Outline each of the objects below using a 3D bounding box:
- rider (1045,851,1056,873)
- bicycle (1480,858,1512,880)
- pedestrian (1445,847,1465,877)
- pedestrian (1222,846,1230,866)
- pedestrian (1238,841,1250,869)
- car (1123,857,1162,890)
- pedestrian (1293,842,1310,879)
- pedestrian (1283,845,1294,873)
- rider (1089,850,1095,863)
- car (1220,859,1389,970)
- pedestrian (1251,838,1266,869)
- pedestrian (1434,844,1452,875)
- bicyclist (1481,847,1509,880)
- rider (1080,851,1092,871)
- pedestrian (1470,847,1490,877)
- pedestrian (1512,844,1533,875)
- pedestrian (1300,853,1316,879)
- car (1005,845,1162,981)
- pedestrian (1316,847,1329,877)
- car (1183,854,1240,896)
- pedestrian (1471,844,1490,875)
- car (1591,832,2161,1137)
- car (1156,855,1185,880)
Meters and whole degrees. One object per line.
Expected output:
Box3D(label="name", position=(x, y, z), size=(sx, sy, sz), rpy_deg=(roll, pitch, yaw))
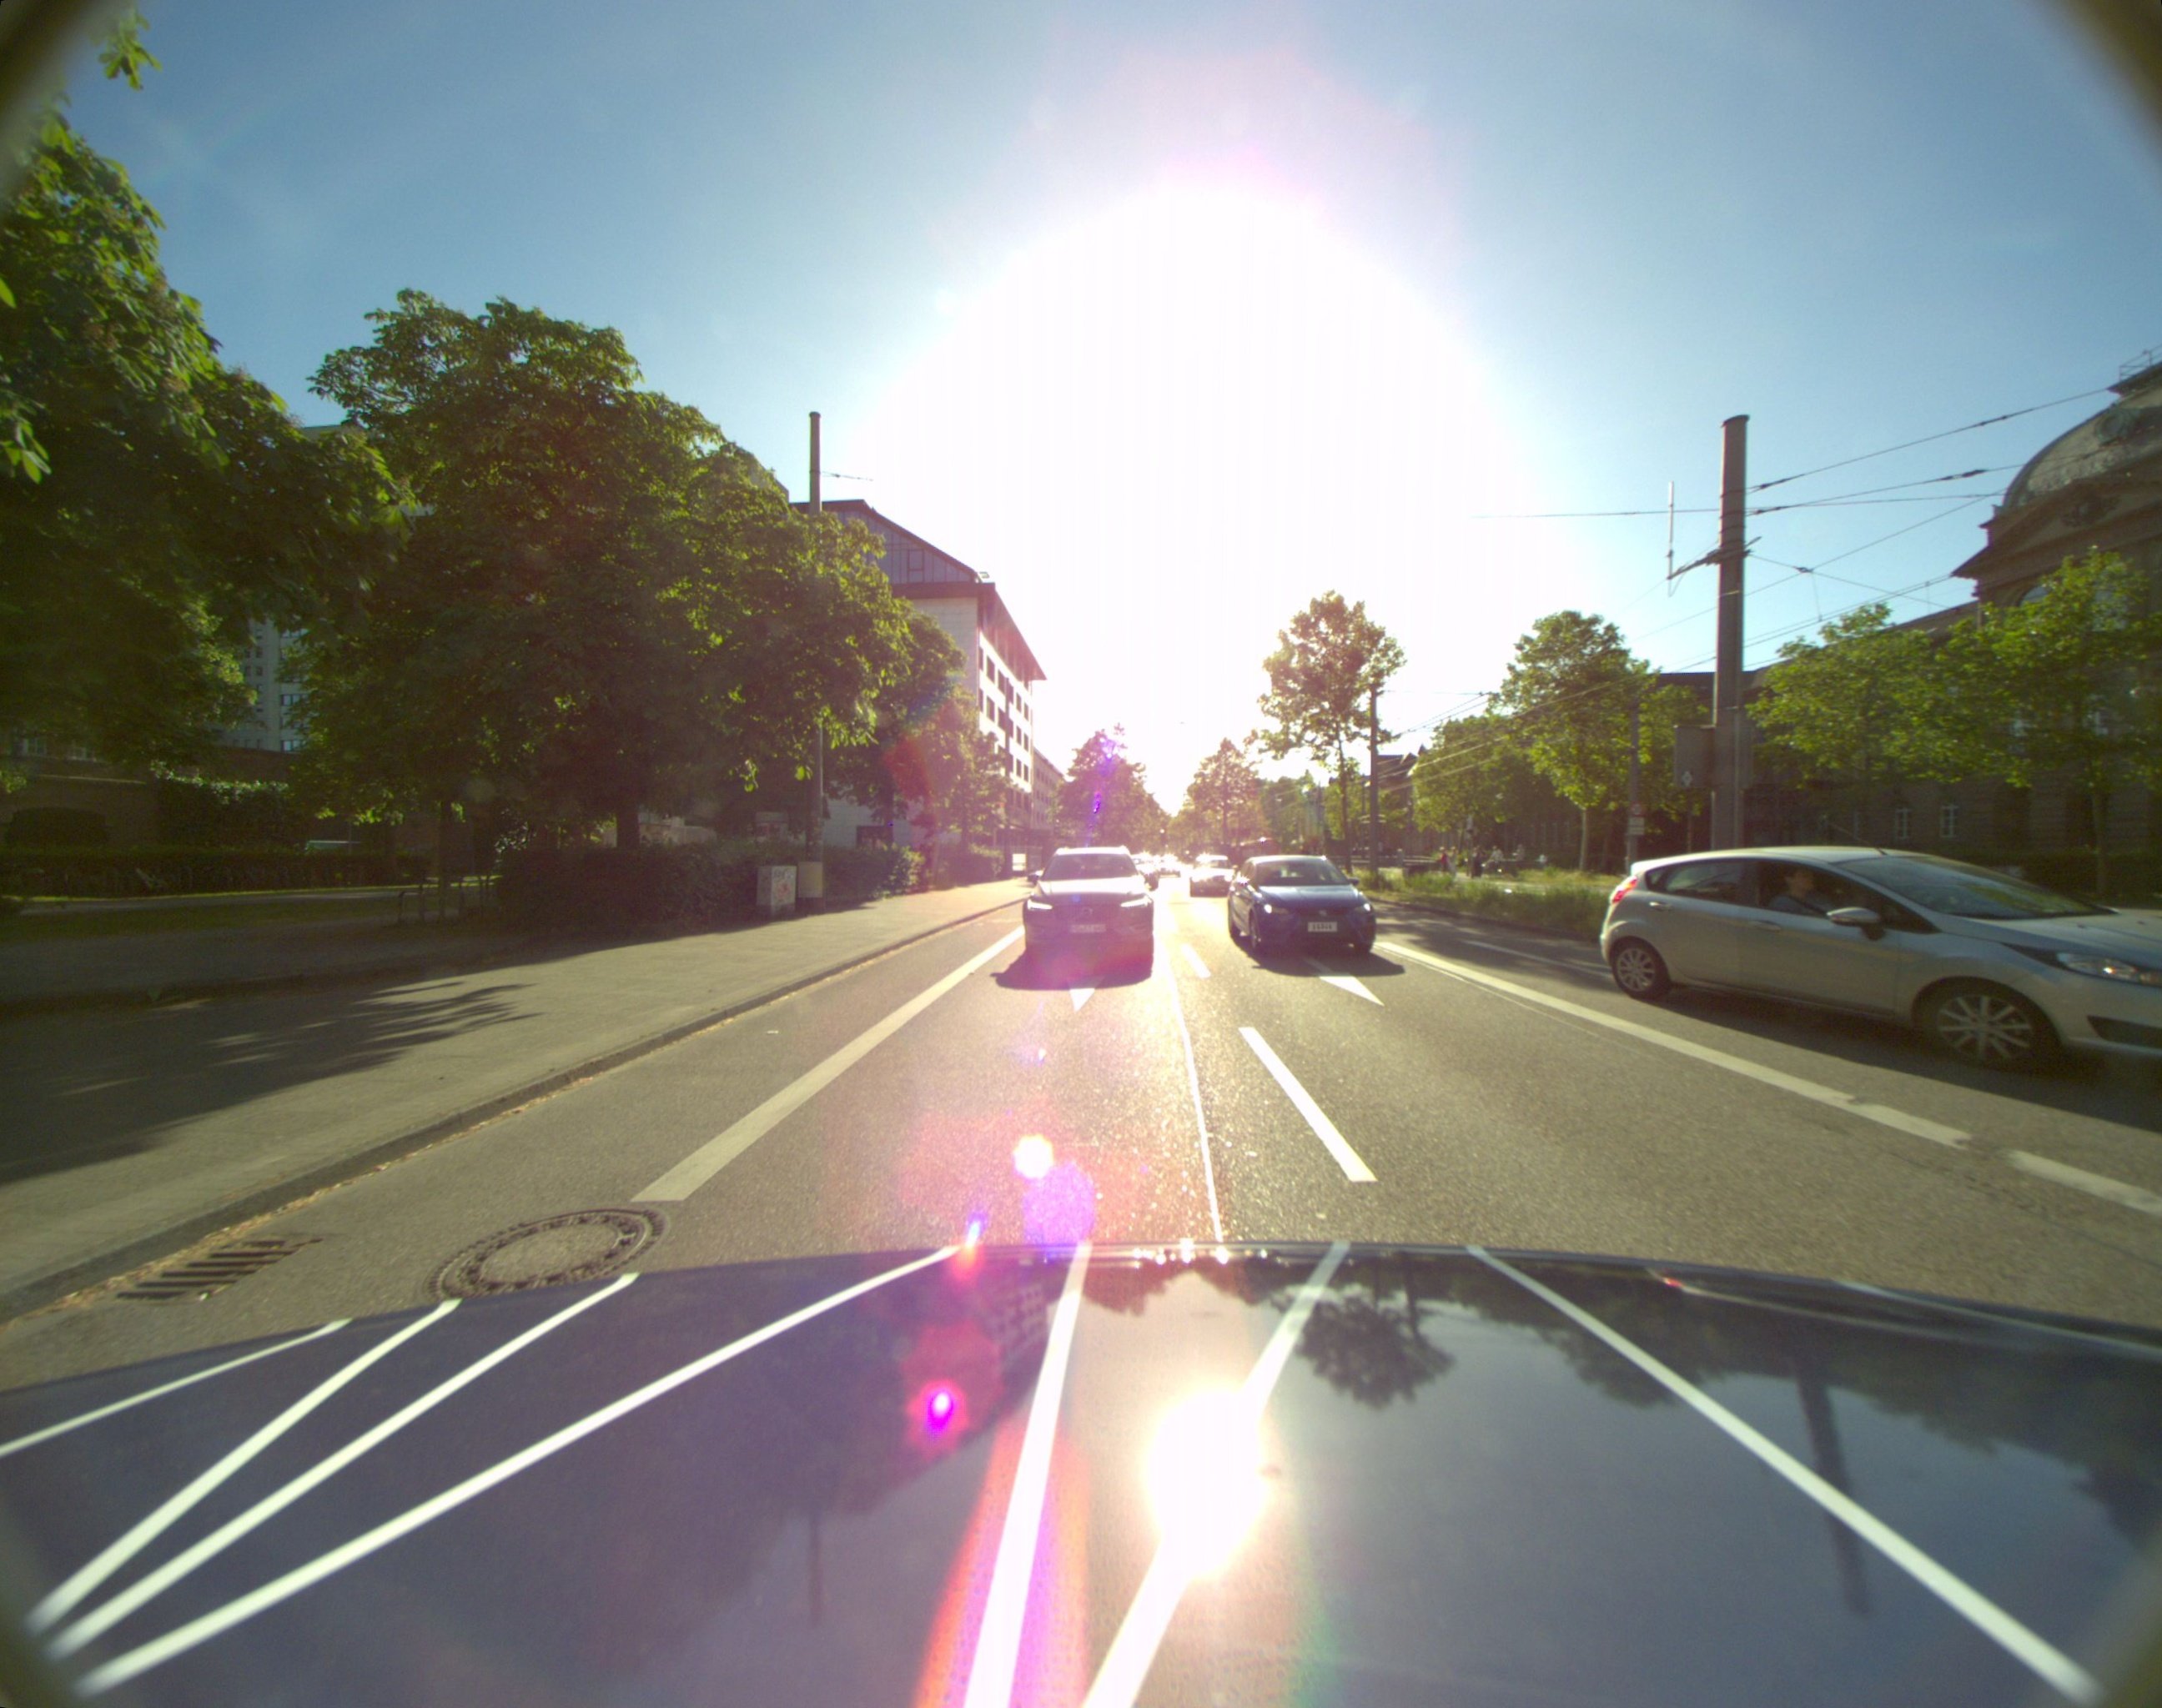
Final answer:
Box3D(label="rider", position=(-2.300, 0.596, 56.809), size=(0.778, 1.582, 0.790), rpy_deg=(0, 1, 2))
Box3D(label="bicycle", position=(21.231, 0.761, 38.886), size=(1.666, 1.036, 0.543), rpy_deg=(-3, 2, -26))
Box3D(label="pedestrian", position=(21.003, 0.444, 42.669), size=(0.595, 1.666, 0.698), rpy_deg=(-3, 1, -28))
Box3D(label="pedestrian", position=(15.210, 0.228, 79.536), size=(0.714, 2.103, 0.787), rpy_deg=(-2, 1, 10))
Box3D(label="pedestrian", position=(12.112, 0.083, 56.568), size=(0.710, 2.002, 0.787), rpy_deg=(-2, 1, 6))
Box3D(label="car", position=(2.826, 0.821, 34.415), size=(1.603, 1.386, 4.002), rpy_deg=(0, 0, 7))
Box3D(label="pedestrian", position=(10.938, 0.307, 37.681), size=(0.646, 1.796, 0.504), rpy_deg=(-2, 1, -5))
Box3D(label="pedestrian", position=(12.340, 0.294, 45.159), size=(0.580, 1.652, 0.667), rpy_deg=(-2, 1, 14))
Box3D(label="rider", position=(1.472, 0.302, 100.198), size=(0.758, 1.717, 0.895), rpy_deg=(-2, 1, 4))
Box3D(label="car", position=(3.421, 0.855, 12.391), size=(1.777, 1.439, 3.870), rpy_deg=(-2, 0, 3))
Box3D(label="pedestrian", position=(12.708, -0.054, 54.427), size=(0.785, 2.175, 0.801), rpy_deg=(-2, 1, 25))
Box3D(label="pedestrian", position=(20.996, 0.326, 44.098), size=(0.595, 1.735, 0.698), rpy_deg=(-3, 1, -28))
Box3D(label="bicyclist", position=(21.140, 0.471, 38.794), size=(0.970, 1.634, 0.833), rpy_deg=(-3, 1, -28))
Box3D(label="rider", position=(0.414, 0.606, 67.275), size=(0.924, 1.668, 0.978), rpy_deg=(-2, 1, 6))
Box3D(label="pedestrian", position=(21.588, 0.431, 41.148), size=(0.595, 1.634, 0.698), rpy_deg=(-3, 1, -31))
Box3D(label="pedestrian", position=(23.230, 0.306, 39.969), size=(0.595, 1.612, 0.698), rpy_deg=(-3, 1, -28))
Box3D(label="pedestrian", position=(11.073, 0.583, 37.112), size=(0.594, 1.226, 0.425), rpy_deg=(-2, 1, -5))
Box3D(label="car", position=(0.206, 0.734, 12.116), size=(1.948, 1.690, 5.307), rpy_deg=(-1, 0, 4))
Box3D(label="pedestrian", position=(13.556, 0.420, 42.724), size=(0.544, 1.652, 0.730), rpy_deg=(-2, 1, 10))
Box3D(label="car", position=(4.965, 0.764, 29.297), size=(1.798, 1.420, 4.001), rpy_deg=(-2, 0, 5))
Box3D(label="pedestrian", position=(22.248, 0.301, 42.298), size=(0.595, 1.726, 0.698), rpy_deg=(-3, 1, -28))
Box3D(label="car", position=(6.312, 0.679, 5.968), size=(1.667, 1.586, 3.860), rpy_deg=(-2, 0, -7))
Box3D(label="car", position=(6.451, 0.949, 54.710), size=(1.774, 1.567, 3.825), rpy_deg=(-2, 0, 10))
